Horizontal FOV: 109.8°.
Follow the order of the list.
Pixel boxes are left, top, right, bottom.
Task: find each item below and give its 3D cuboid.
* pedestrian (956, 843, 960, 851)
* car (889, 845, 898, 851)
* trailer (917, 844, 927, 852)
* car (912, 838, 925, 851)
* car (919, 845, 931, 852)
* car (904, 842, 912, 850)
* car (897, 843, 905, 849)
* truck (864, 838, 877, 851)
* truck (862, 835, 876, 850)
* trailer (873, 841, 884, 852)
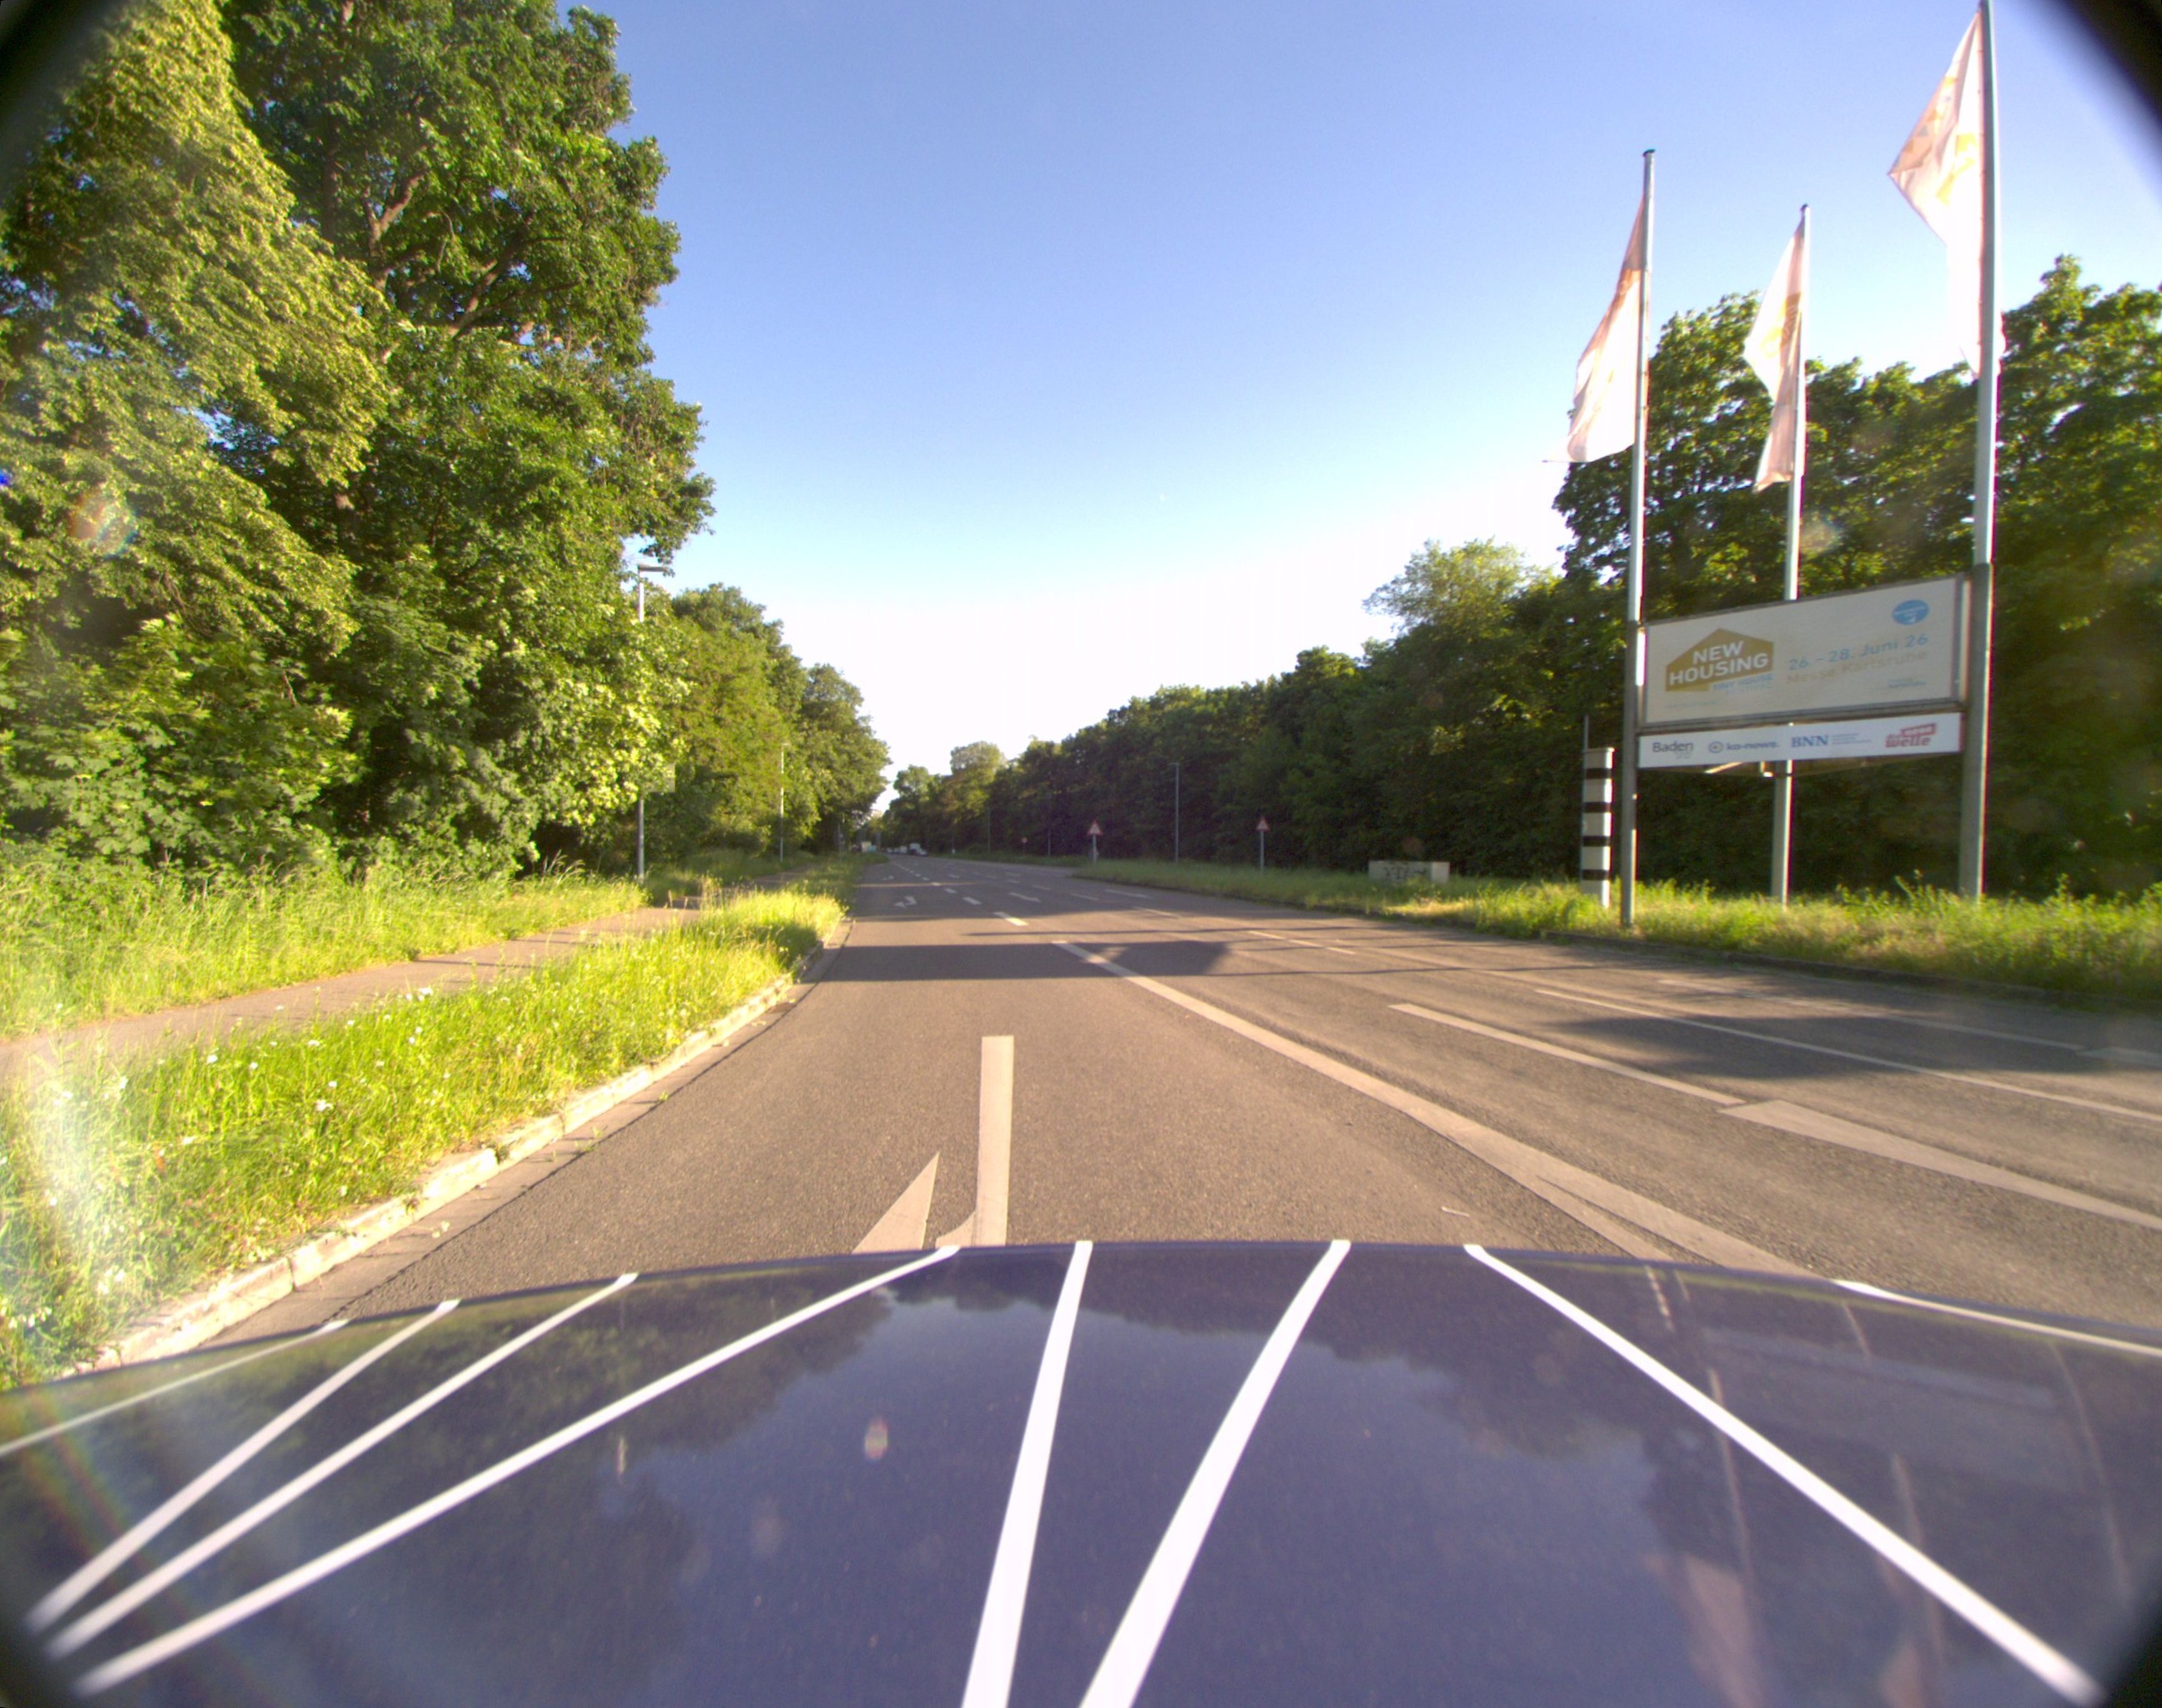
[{"bbox_3d":[-24.661,-1.394,152.331,0.714,1.556,0.825,1,1,-16],"label":"pedestrian"},{"bbox_3d":[-50.399,-1.580,203.818,1.836,1.447,4.472,0,1,-20],"label":"car"},{"bbox_3d":[-35.396,-1.411,168.968,1.809,1.719,3.641,2,1,-19],"label":"trailer"},{"bbox_3d":[-38.742,-2.245,180.792,2.464,2.831,4.790,2,1,-19],"label":"car"},{"bbox_3d":[-33.751,-1.211,164.241,1.918,1.455,4.004,2,1,-19],"label":"car"},{"bbox_3d":[-48.173,-2.332,211.121,1.694,2.089,4.624,2,1,-19],"label":"car"},{"bbox_3d":[-52.857,-2.304,222.770,1.809,1.496,3.905,2,1,-19],"label":"car"},{"bbox_3d":[-48.140,-2.146,173.329,2.393,2.856,5.588,-2,2,-19],"label":"truck"},{"bbox_3d":[-50.942,-2.780,182.349,2.710,3.219,7.115,2,1,-19],"label":"truck"},{"bbox_3d":[-41.850,-1.586,156.838,1.872,2.166,4.121,-1,2,-19],"label":"trailer"}]
